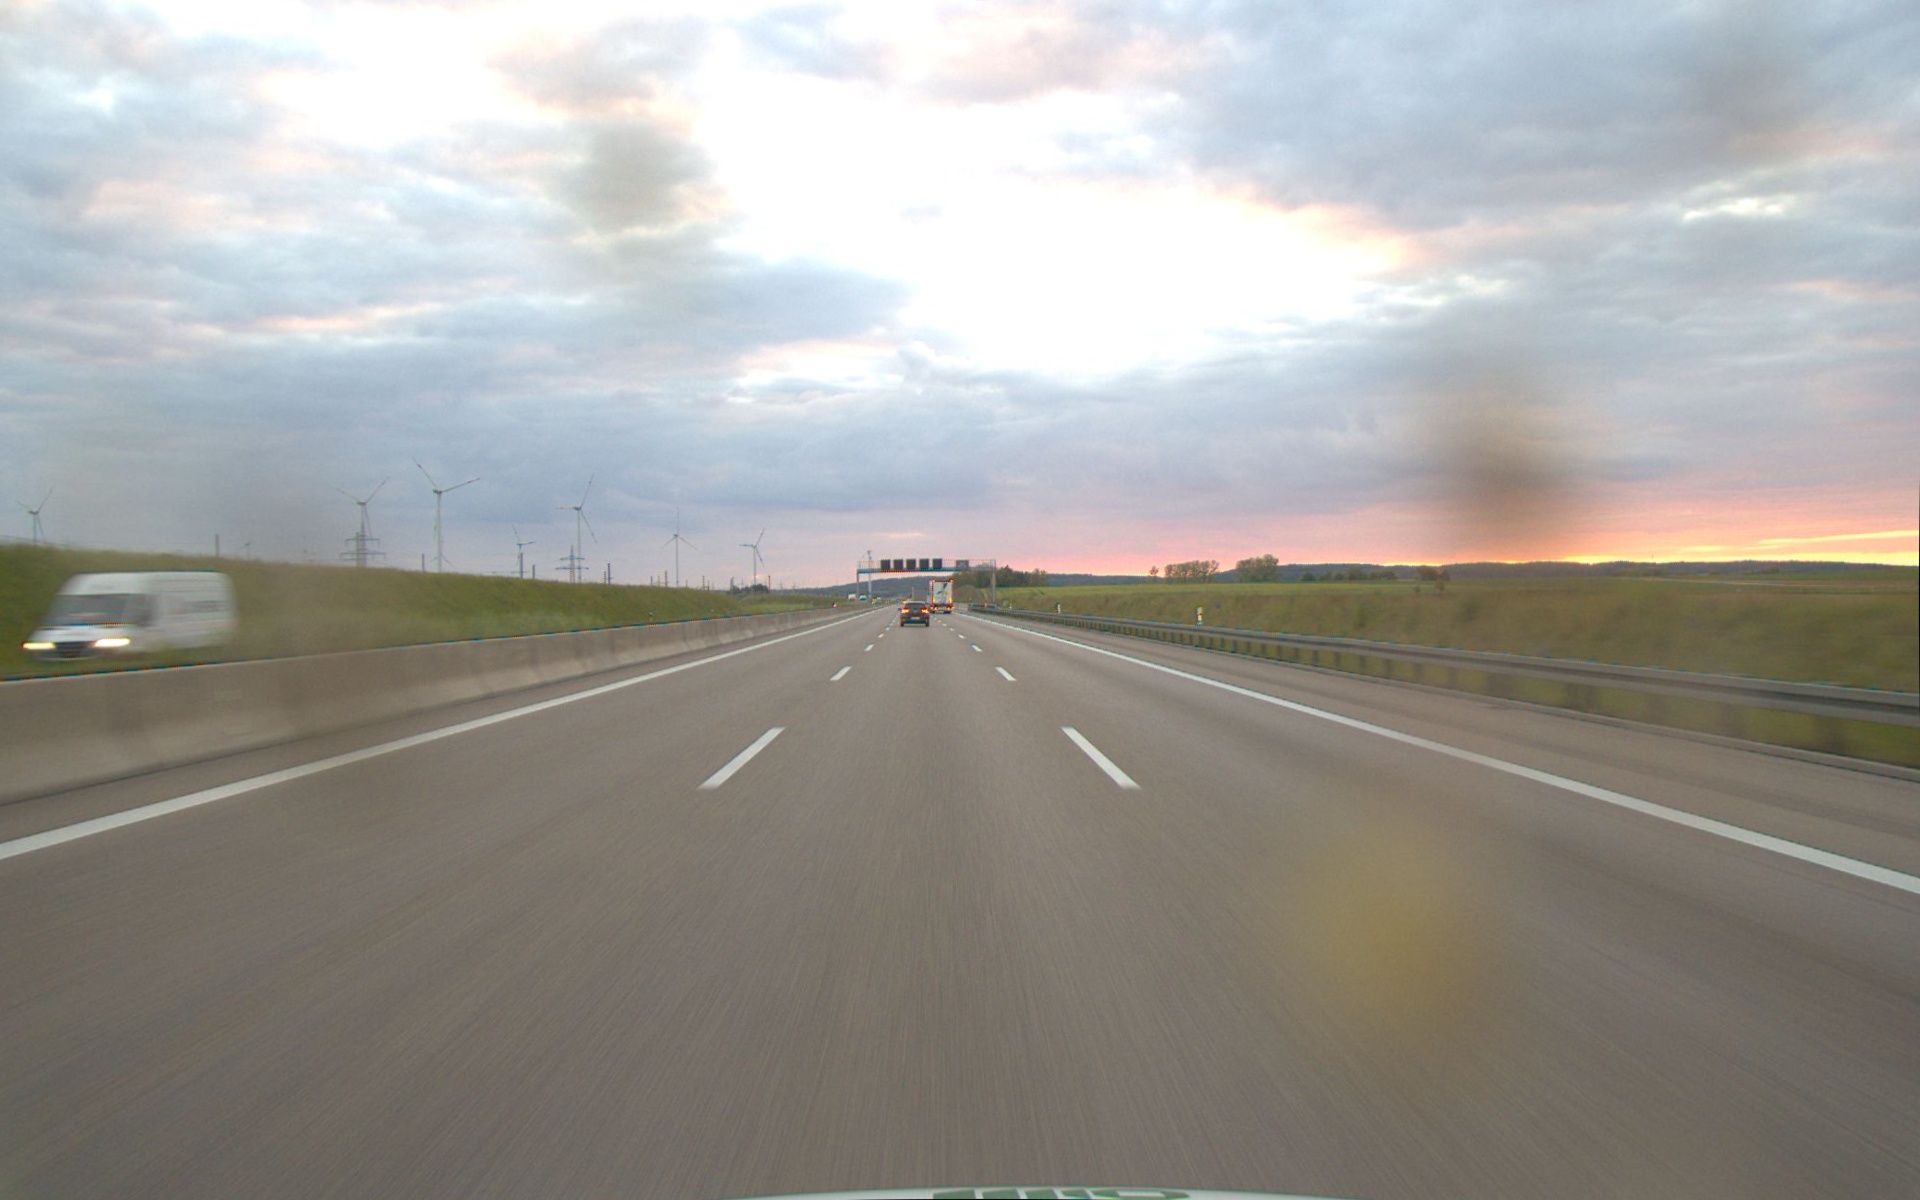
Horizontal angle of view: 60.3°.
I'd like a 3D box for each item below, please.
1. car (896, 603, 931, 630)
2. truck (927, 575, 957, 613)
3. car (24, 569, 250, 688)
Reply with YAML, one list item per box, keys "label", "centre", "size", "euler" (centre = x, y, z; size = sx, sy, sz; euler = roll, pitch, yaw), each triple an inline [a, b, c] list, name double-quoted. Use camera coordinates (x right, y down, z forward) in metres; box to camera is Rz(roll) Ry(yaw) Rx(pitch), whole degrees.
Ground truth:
- label: "car"
  centre: [-2.737, 0.954, 97.931]
  size: [1.947, 1.454, 4.000]
  euler: [-1, 0, -1]
- label: "truck"
  centre: [-2.335, -0.689, 208.429]
  size: [3.601, 4.645, 10.977]
  euler: [0, 0, -2]
- label: "car"
  centre: [-19.743, 0.622, 40.199]
  size: [1.953, 2.591, 7.375]
  euler: [-1, 0, -2]
